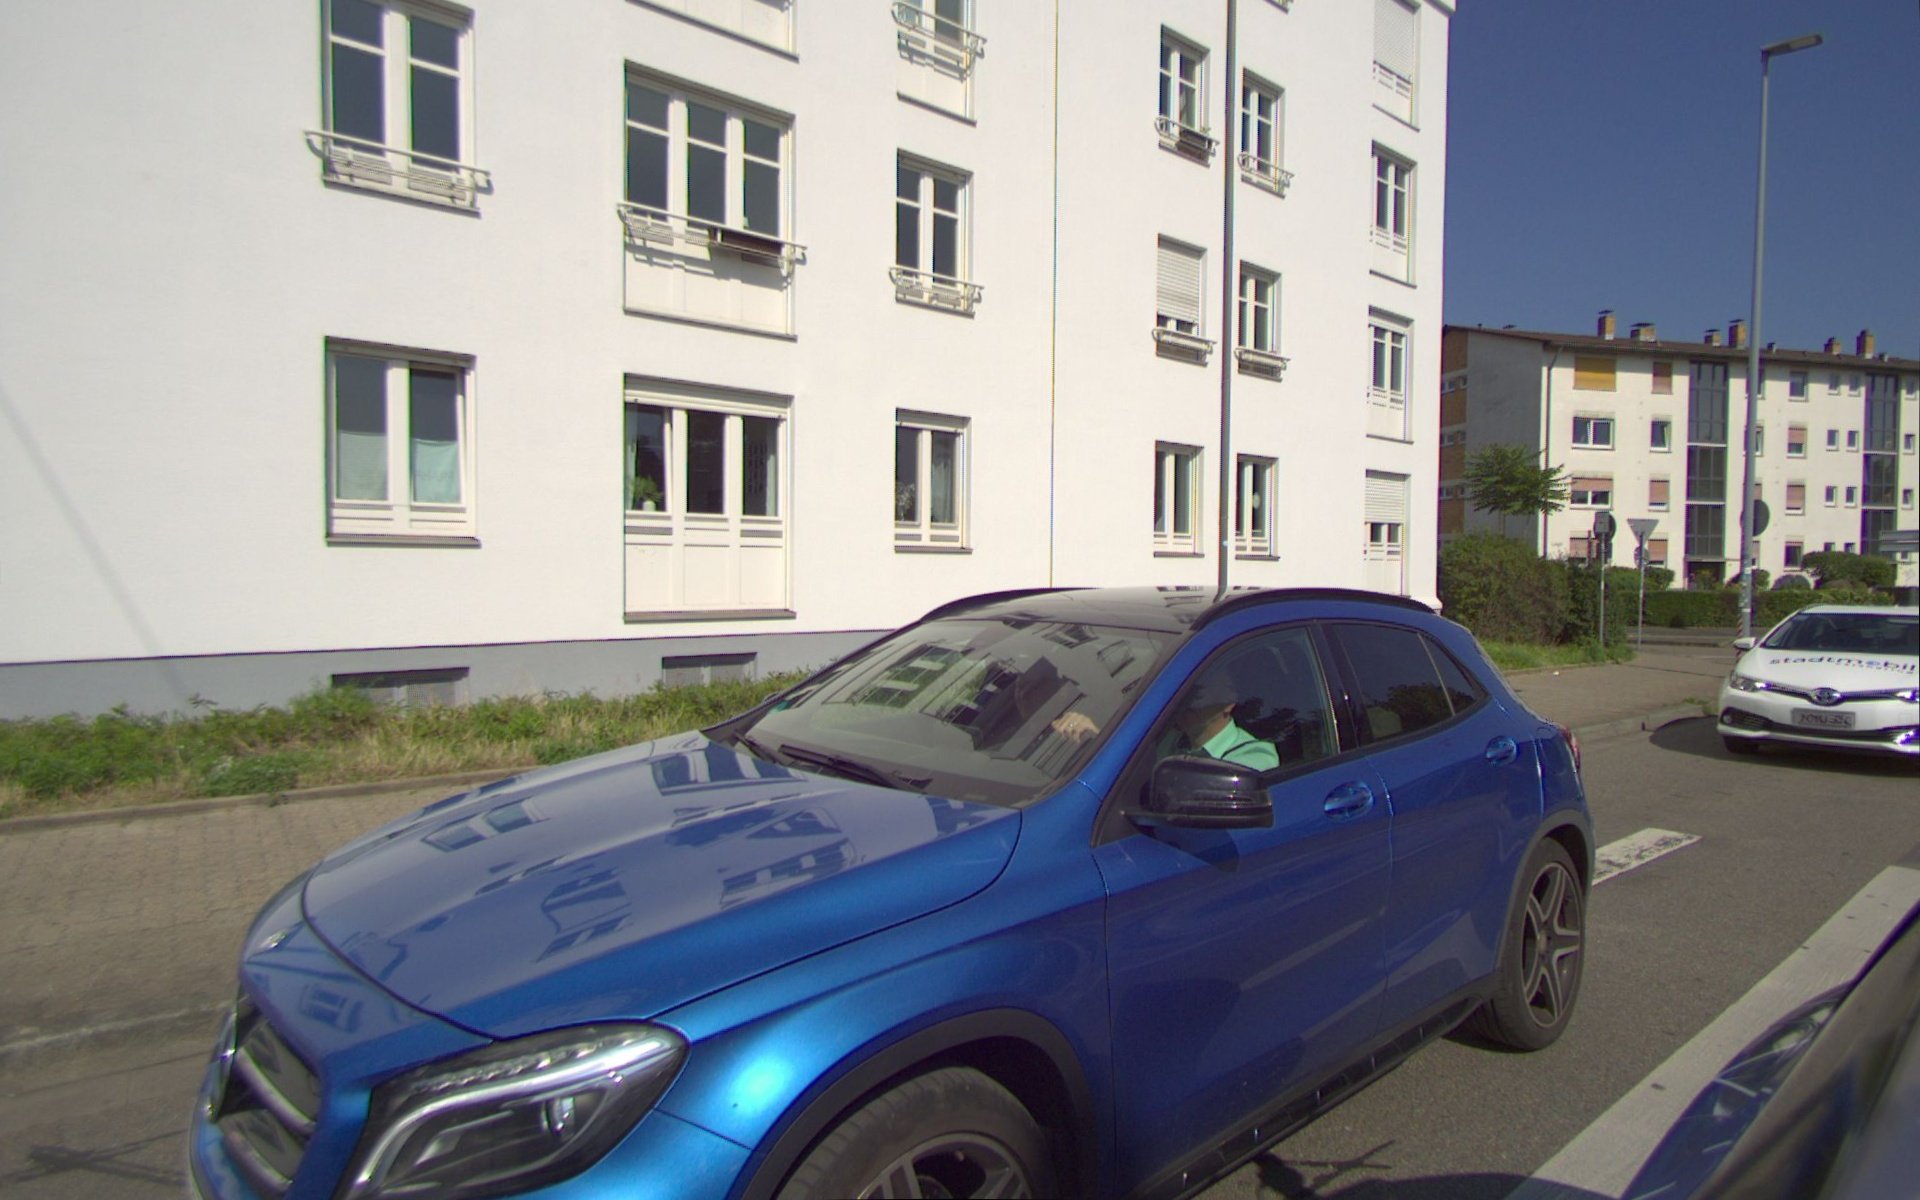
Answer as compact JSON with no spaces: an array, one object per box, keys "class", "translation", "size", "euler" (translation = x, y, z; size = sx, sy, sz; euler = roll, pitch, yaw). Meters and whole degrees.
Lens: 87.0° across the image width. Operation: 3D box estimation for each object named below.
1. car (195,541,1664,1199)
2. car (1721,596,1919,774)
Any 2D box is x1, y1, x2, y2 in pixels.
[{"class":"car","translation":[0.488,0.673,3.113],"size":[4.470,1.499,1.674],"euler":[0,0,-40]},{"class":"car","translation":[9.186,0.682,10.007],"size":[4.406,1.430,1.700],"euler":[0,0,-40]}]
